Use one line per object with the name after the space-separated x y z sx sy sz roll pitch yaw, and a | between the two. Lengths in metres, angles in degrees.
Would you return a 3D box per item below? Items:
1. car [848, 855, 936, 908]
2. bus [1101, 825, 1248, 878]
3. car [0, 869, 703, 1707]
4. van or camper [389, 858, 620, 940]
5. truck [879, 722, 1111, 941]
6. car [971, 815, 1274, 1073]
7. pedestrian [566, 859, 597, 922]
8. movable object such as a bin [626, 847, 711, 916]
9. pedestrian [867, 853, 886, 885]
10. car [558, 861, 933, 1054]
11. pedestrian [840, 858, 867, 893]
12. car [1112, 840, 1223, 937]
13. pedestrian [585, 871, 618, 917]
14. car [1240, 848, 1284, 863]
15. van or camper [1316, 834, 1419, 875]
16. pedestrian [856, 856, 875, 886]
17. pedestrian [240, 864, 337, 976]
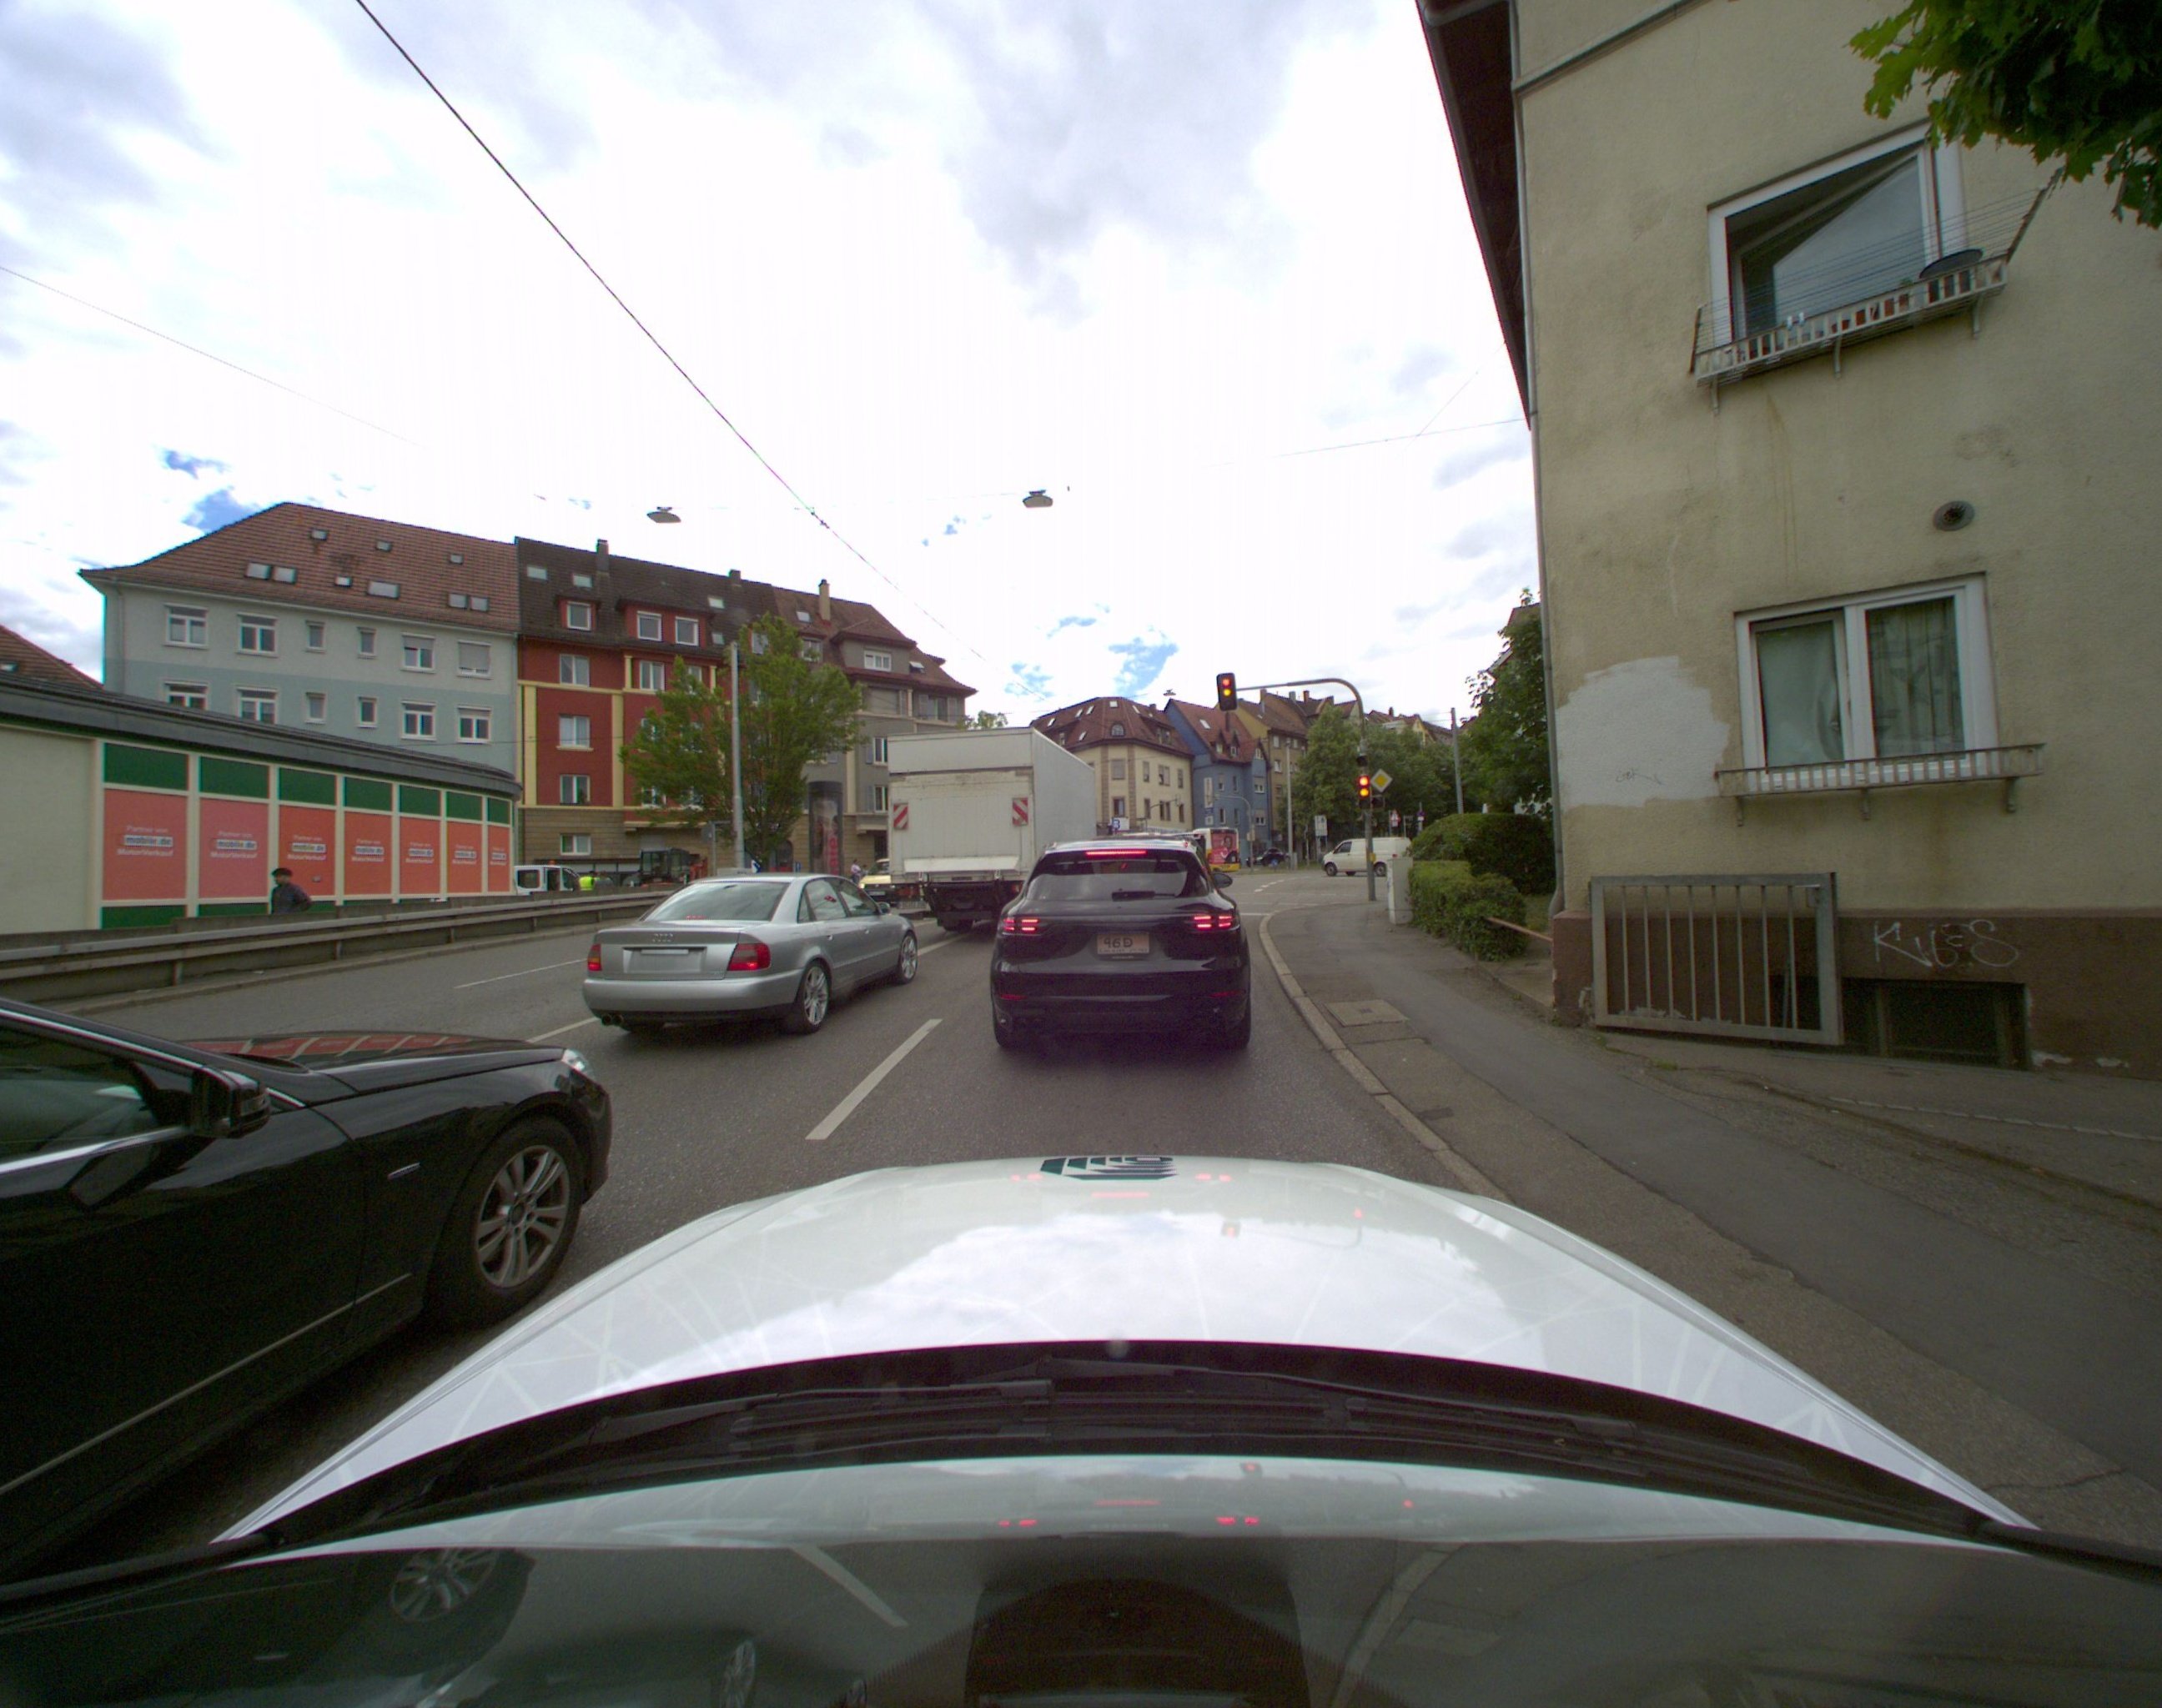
-5.968 0.832 26.085 1.589 1.517 3.466 -3 0 7 | car
5.938 -0.045 55.133 3.178 3.096 12.030 -2 -1 -31 | bus
-2.871 0.810 1.450 1.986 1.429 4.844 -1 0 2 | car
-18.997 1.386 27.269 6.028 2.338 2.661 -1 0 -33 | van or camper
-1.287 -0.376 17.538 2.708 3.544 8.445 0 0 10 | truck
0.351 0.595 7.727 2.024 1.723 4.502 0 0 2 | car
-16.462 1.179 26.863 0.829 2.013 0.674 -1 0 -30 | pedestrian
-13.156 0.843 26.158 1.375 2.013 3.524 -2 0 -10 | movable object such as a bin
-9.575 0.705 38.106 0.517 1.487 0.658 -1 0 34 | pedestrian
-2.941 0.811 8.224 1.620 1.365 4.136 -2 0 7 | car
-10.244 0.952 36.684 0.785 1.546 0.743 -2 0 28 | pedestrian
1.689 0.566 14.949 1.638 1.556 3.595 -1 -1 12 | car
-14.678 1.228 24.943 0.594 1.363 0.630 -2 0 35 | pedestrian
16.975 0.144 76.076 1.852 1.416 4.727 -2 -1 43 | car
14.697 0.050 42.040 2.008 2.014 4.778 0 -1 -35 | van or camper
-9.914 0.788 37.546 0.569 1.338 0.588 -1 0 30 | pedestrian
-12.147 0.980 12.506 0.686 1.637 0.778 -1 0 -4 | pedestrian
